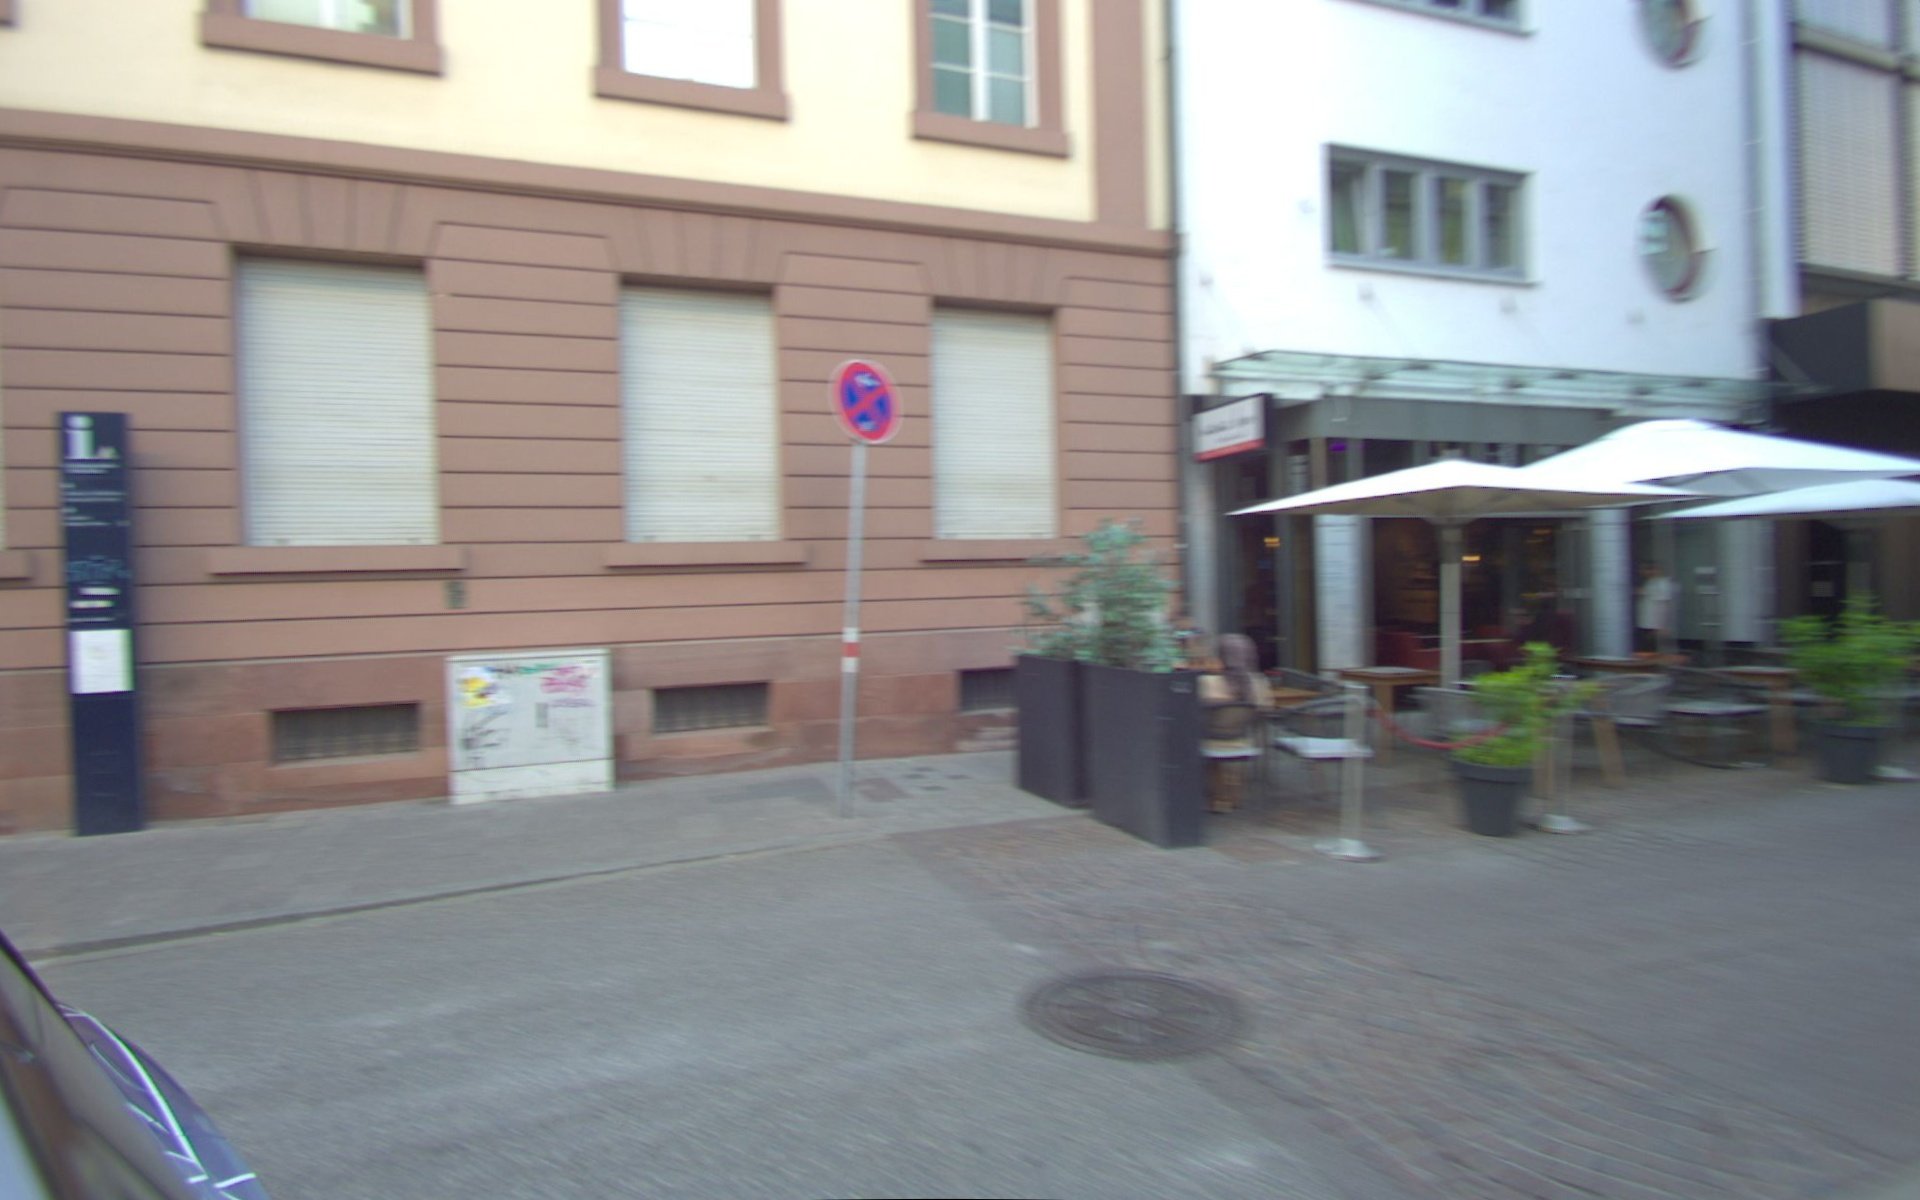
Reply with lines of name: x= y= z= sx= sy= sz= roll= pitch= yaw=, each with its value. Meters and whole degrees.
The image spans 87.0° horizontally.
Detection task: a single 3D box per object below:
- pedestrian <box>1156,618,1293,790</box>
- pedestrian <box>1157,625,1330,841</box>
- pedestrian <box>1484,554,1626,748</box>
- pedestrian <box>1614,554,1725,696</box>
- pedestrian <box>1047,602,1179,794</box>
pedestrian: x=2.015 y=0.757 z=7.771 sx=0.662 sy=1.192 sz=0.795 roll=-1 pitch=1 yaw=-21
pedestrian: x=1.743 y=0.773 z=6.294 sx=0.662 sy=1.192 sz=0.795 roll=-2 pitch=1 yaw=-25
pedestrian: x=5.403 y=0.443 z=9.218 sx=0.713 sy=1.661 sz=0.795 roll=-2 pitch=-1 yaw=-25
pedestrian: x=8.737 y=0.291 z=12.477 sx=0.787 sy=1.671 sz=0.861 roll=-1 pitch=-1 yaw=-36
pedestrian: x=1.150 y=0.699 z=7.693 sx=0.662 sy=1.341 sz=0.795 roll=-1 pitch=1 yaw=-21
